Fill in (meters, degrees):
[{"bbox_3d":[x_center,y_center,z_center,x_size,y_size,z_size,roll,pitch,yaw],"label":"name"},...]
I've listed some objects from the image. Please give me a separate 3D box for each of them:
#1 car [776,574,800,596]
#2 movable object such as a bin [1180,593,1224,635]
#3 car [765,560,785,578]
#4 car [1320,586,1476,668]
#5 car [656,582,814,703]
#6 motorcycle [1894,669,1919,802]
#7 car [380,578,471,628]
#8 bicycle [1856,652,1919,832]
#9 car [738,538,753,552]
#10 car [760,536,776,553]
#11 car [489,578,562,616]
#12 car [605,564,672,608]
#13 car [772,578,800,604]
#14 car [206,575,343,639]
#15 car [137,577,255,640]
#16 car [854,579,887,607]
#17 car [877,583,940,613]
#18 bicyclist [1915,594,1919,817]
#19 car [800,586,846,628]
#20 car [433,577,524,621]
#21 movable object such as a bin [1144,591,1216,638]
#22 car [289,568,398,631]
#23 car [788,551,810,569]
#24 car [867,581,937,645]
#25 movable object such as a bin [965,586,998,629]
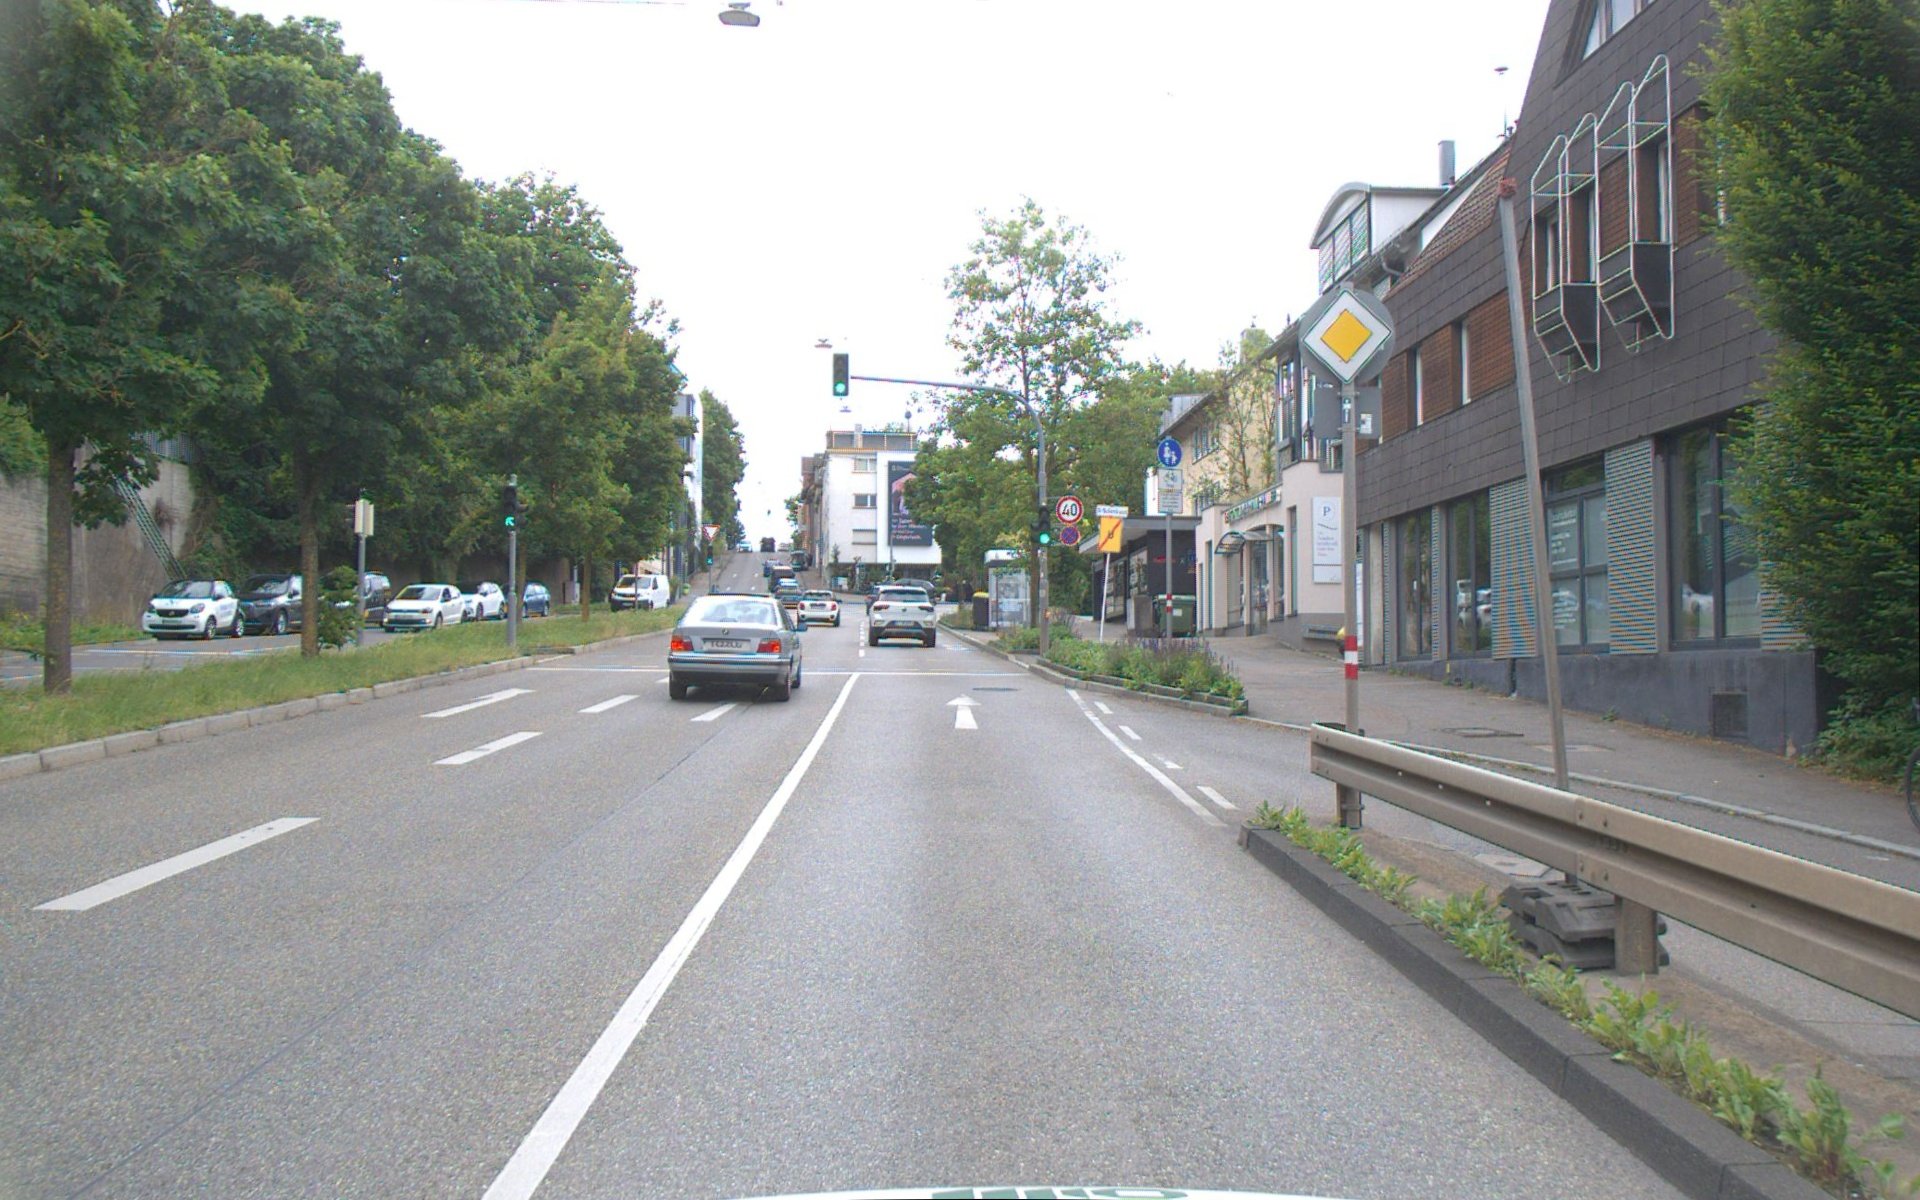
[{"bbox_3d":[-13.209,-1.187,126.840,1.746,1.606,3.995,1,1,-7],"label":"car"},{"bbox_3d":[8.319,0.472,56.993,1.313,1.434,1.127,1,0,-1],"label":"movable object such as a bin"},{"bbox_3d":[-16.743,-2.820,149.560,1.746,1.606,3.995,1,1,-7],"label":"car"},{"bbox_3d":[10.084,0.605,38.190,2.936,1.488,1.663,6,1,-9],"label":"car"},{"bbox_3d":[-3.049,0.527,23.129,1.672,1.489,4.000,1,1,-1],"label":"car"},{"bbox_3d":[8.218,1.125,12.938,0.681,1.069,1.967,-1,1,-1],"label":"motorcycle"},{"bbox_3d":[-16.719,0.065,51.931,1.694,1.453,3.789,1,1,-2],"label":"car"},{"bbox_3d":[7.448,1.088,12.093,0.560,1.284,2.037,-3,1,-3],"label":"bicycle"},{"bbox_3d":[-27.134,-6.945,209.031,1.847,1.594,4.384,0,3,-7],"label":"car"},{"bbox_3d":[-24.626,-7.087,211.926,1.955,2.048,3.995,1,1,-7],"label":"car"},{"bbox_3d":[-18.794,-0.145,71.688,1.676,1.555,4.304,1,1,5],"label":"car"},{"bbox_3d":[-15.210,-0.662,78.505,1.898,1.992,5.024,1,1,3],"label":"car"},{"bbox_3d":[-11.106,-0.594,105.516,1.746,1.606,3.995,1,1,-7],"label":"car"},{"bbox_3d":[-19.673,0.190,47.679,1.929,1.685,4.533,1,0,1],"label":"car"},{"bbox_3d":[-19.793,0.194,42.969,1.745,1.524,3.095,1,1,-4],"label":"car"},{"bbox_3d":[-4.969,-0.418,92.063,1.744,1.461,3.998,1,1,-3],"label":"car"},{"bbox_3d":[-3.951,-0.162,126.610,4.600,1.741,2.316,5,3,-7],"label":"car"},{"bbox_3d":[7.444,0.795,11.909,0.527,1.662,0.947,1,0,-3],"label":"bicyclist"},{"bbox_3d":[-5.617,0.265,67.424,1.746,1.606,3.995,1,1,-7],"label":"car"},{"bbox_3d":[-19.161,-0.048,65.958,1.742,1.657,4.174,2,1,11],"label":"car"},{"bbox_3d":[7.397,0.463,55.980,1.850,1.477,3.999,1,1,-1],"label":"movable object such as a bin"},{"bbox_3d":[-19.578,-0.053,52.712,1.743,1.875,4.488,1,1,0],"label":"car"},{"bbox_3d":[-15.609,-3.891,160.722,2.049,1.641,3.995,1,0,-6],"label":"car"},{"bbox_3d":[-1.598,0.316,44.605,1.745,1.606,3.997,1,1,-4],"label":"car"},{"bbox_3d":[0.764,0.272,59.201,1.063,1.507,1.536,1,0,-2],"label":"movable object such as a bin"}]
